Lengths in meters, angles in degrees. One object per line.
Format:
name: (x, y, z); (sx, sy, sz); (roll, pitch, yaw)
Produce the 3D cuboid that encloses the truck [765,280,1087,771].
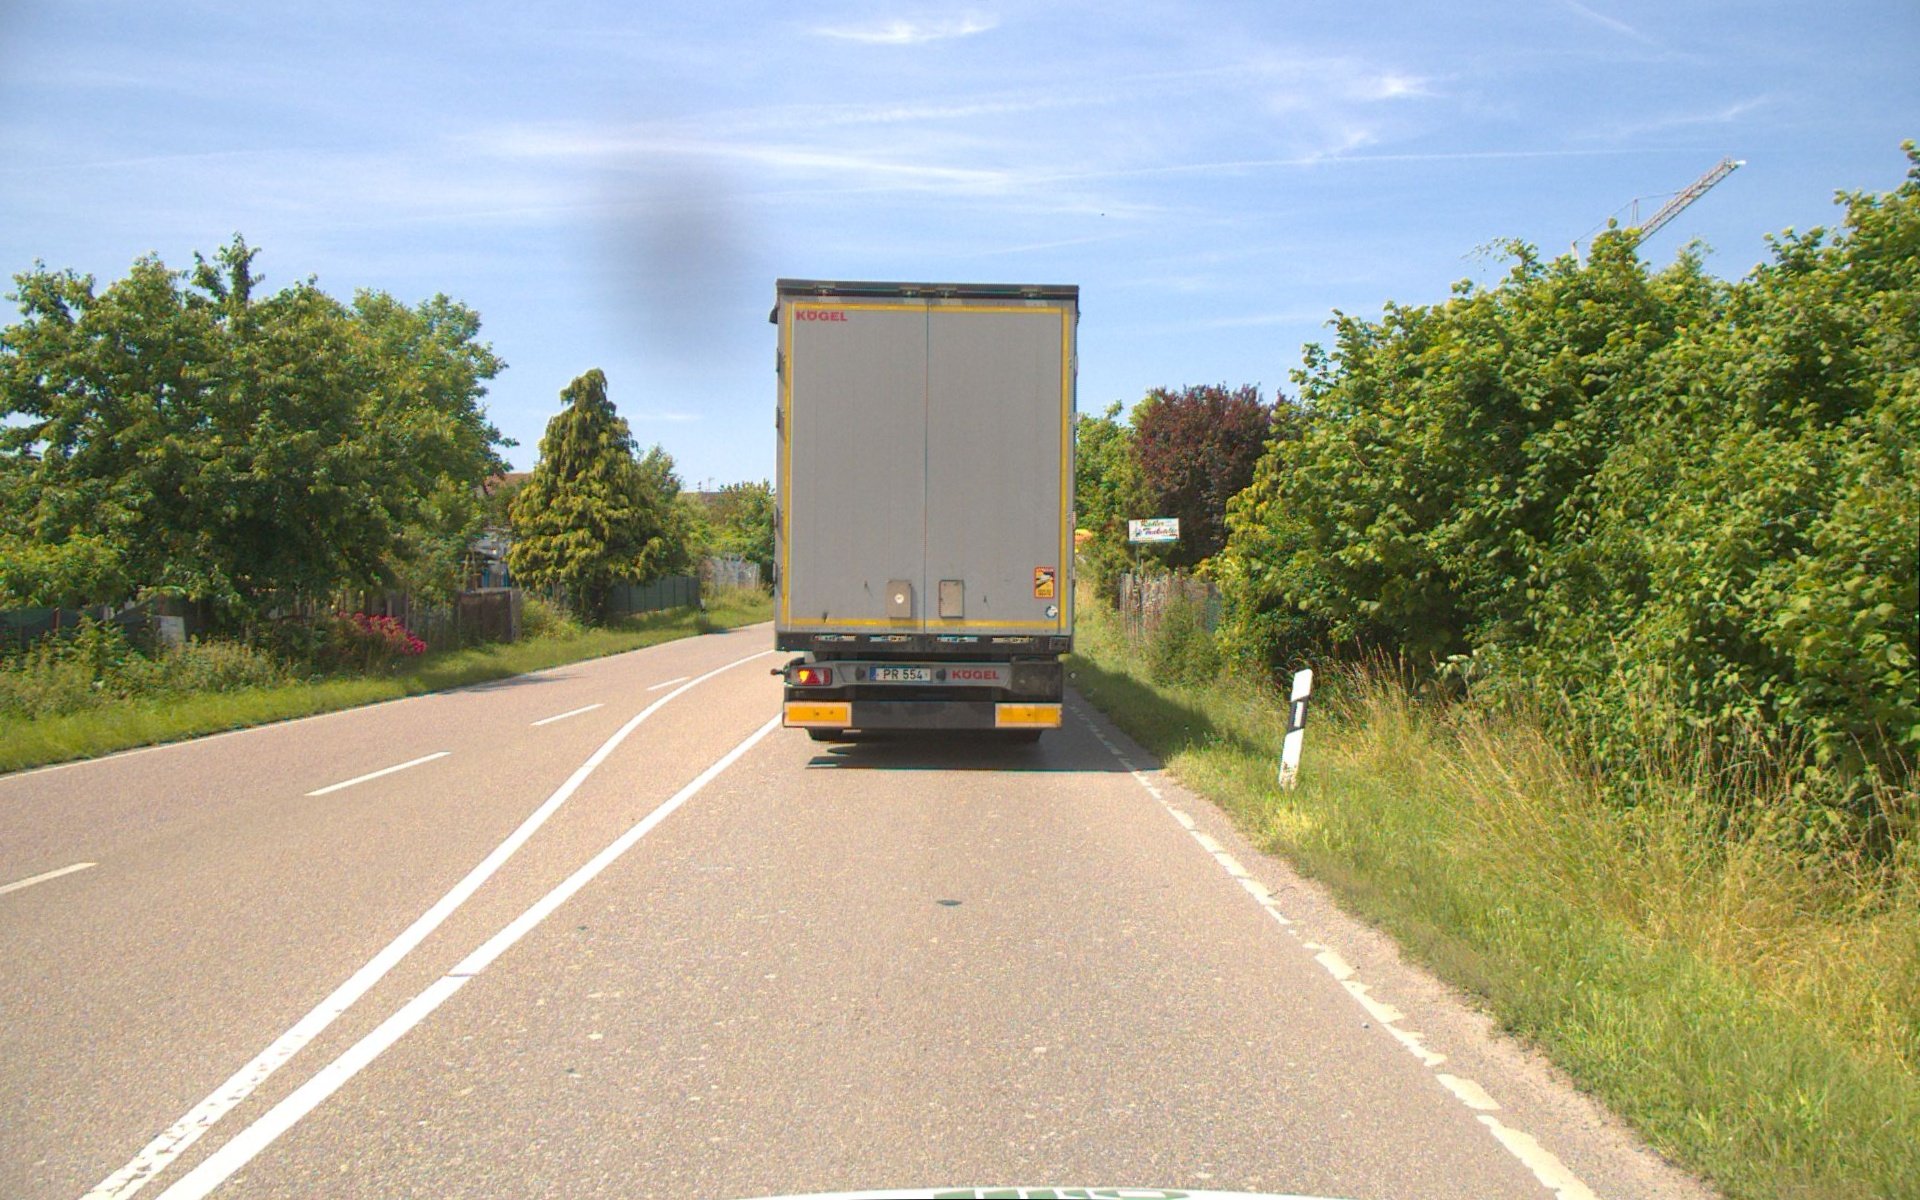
truck: (-0.419, -0.649, 17.932); (2.594, 3.985, 8.822); (1, 1, -2)
